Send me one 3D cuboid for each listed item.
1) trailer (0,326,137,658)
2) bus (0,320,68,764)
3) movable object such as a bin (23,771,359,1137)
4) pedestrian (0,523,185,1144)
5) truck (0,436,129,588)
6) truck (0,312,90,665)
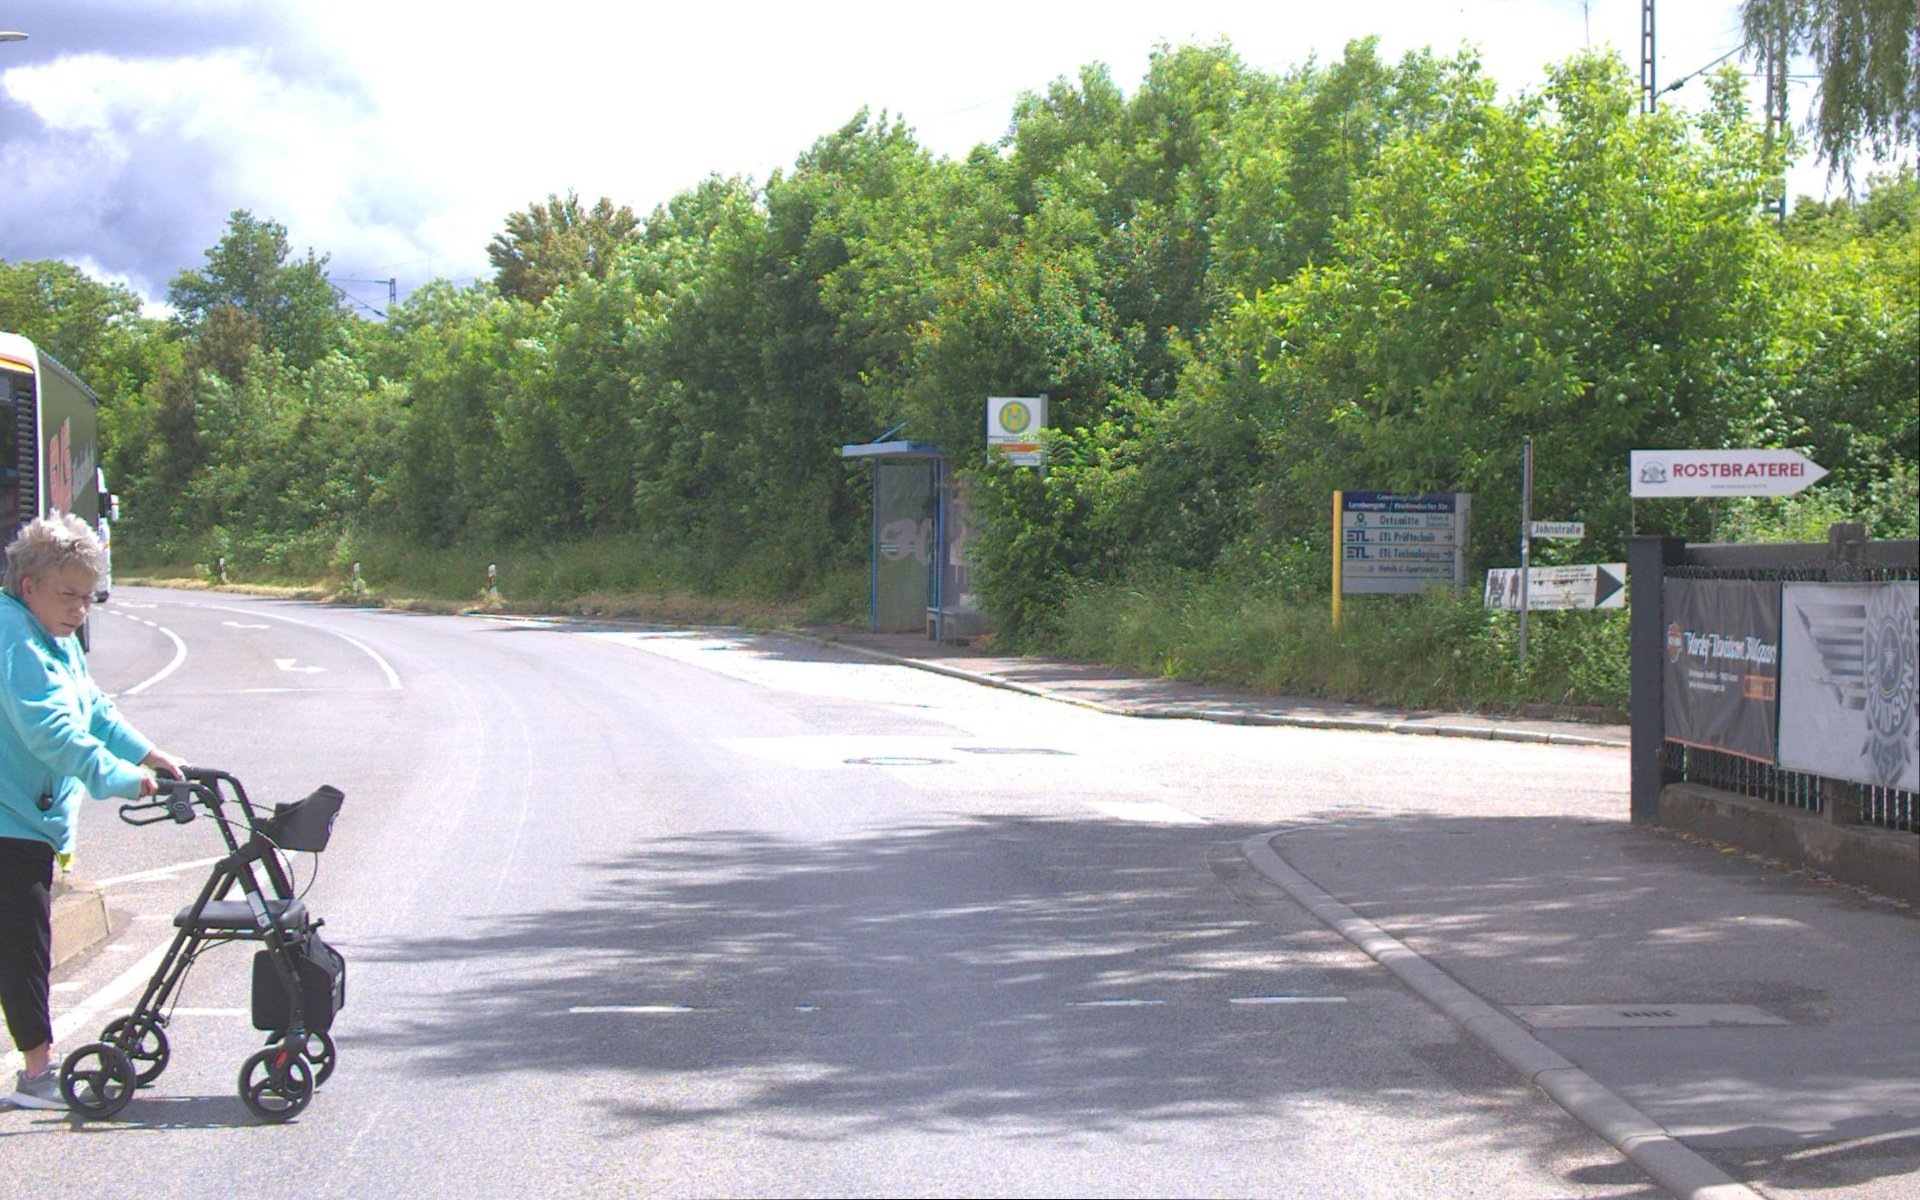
[{"bbox_3d":[-13.733,-1.422,49.381,2.798,4.039,15.560,1,1,-10],"label":"trailer"},{"bbox_3d":[-7.838,-0.345,19.042,2.718,3.020,12.266,0,1,-1],"label":"bus"},{"bbox_3d":[-1.979,0.903,8.925,0.746,0.868,0.671,1,0,-4],"label":"movable object such as a bin"},{"bbox_3d":[-2.494,0.573,8.883,0.838,1.538,0.734,1,0,-4],"label":"pedestrian"},{"bbox_3d":[-25.220,-2.438,96.549,2.770,4.105,4.987,1,1,-24],"label":"truck"},{"bbox_3d":[-12.436,-1.333,42.462,2.798,4.039,6.503,1,1,-10],"label":"truck"}]
